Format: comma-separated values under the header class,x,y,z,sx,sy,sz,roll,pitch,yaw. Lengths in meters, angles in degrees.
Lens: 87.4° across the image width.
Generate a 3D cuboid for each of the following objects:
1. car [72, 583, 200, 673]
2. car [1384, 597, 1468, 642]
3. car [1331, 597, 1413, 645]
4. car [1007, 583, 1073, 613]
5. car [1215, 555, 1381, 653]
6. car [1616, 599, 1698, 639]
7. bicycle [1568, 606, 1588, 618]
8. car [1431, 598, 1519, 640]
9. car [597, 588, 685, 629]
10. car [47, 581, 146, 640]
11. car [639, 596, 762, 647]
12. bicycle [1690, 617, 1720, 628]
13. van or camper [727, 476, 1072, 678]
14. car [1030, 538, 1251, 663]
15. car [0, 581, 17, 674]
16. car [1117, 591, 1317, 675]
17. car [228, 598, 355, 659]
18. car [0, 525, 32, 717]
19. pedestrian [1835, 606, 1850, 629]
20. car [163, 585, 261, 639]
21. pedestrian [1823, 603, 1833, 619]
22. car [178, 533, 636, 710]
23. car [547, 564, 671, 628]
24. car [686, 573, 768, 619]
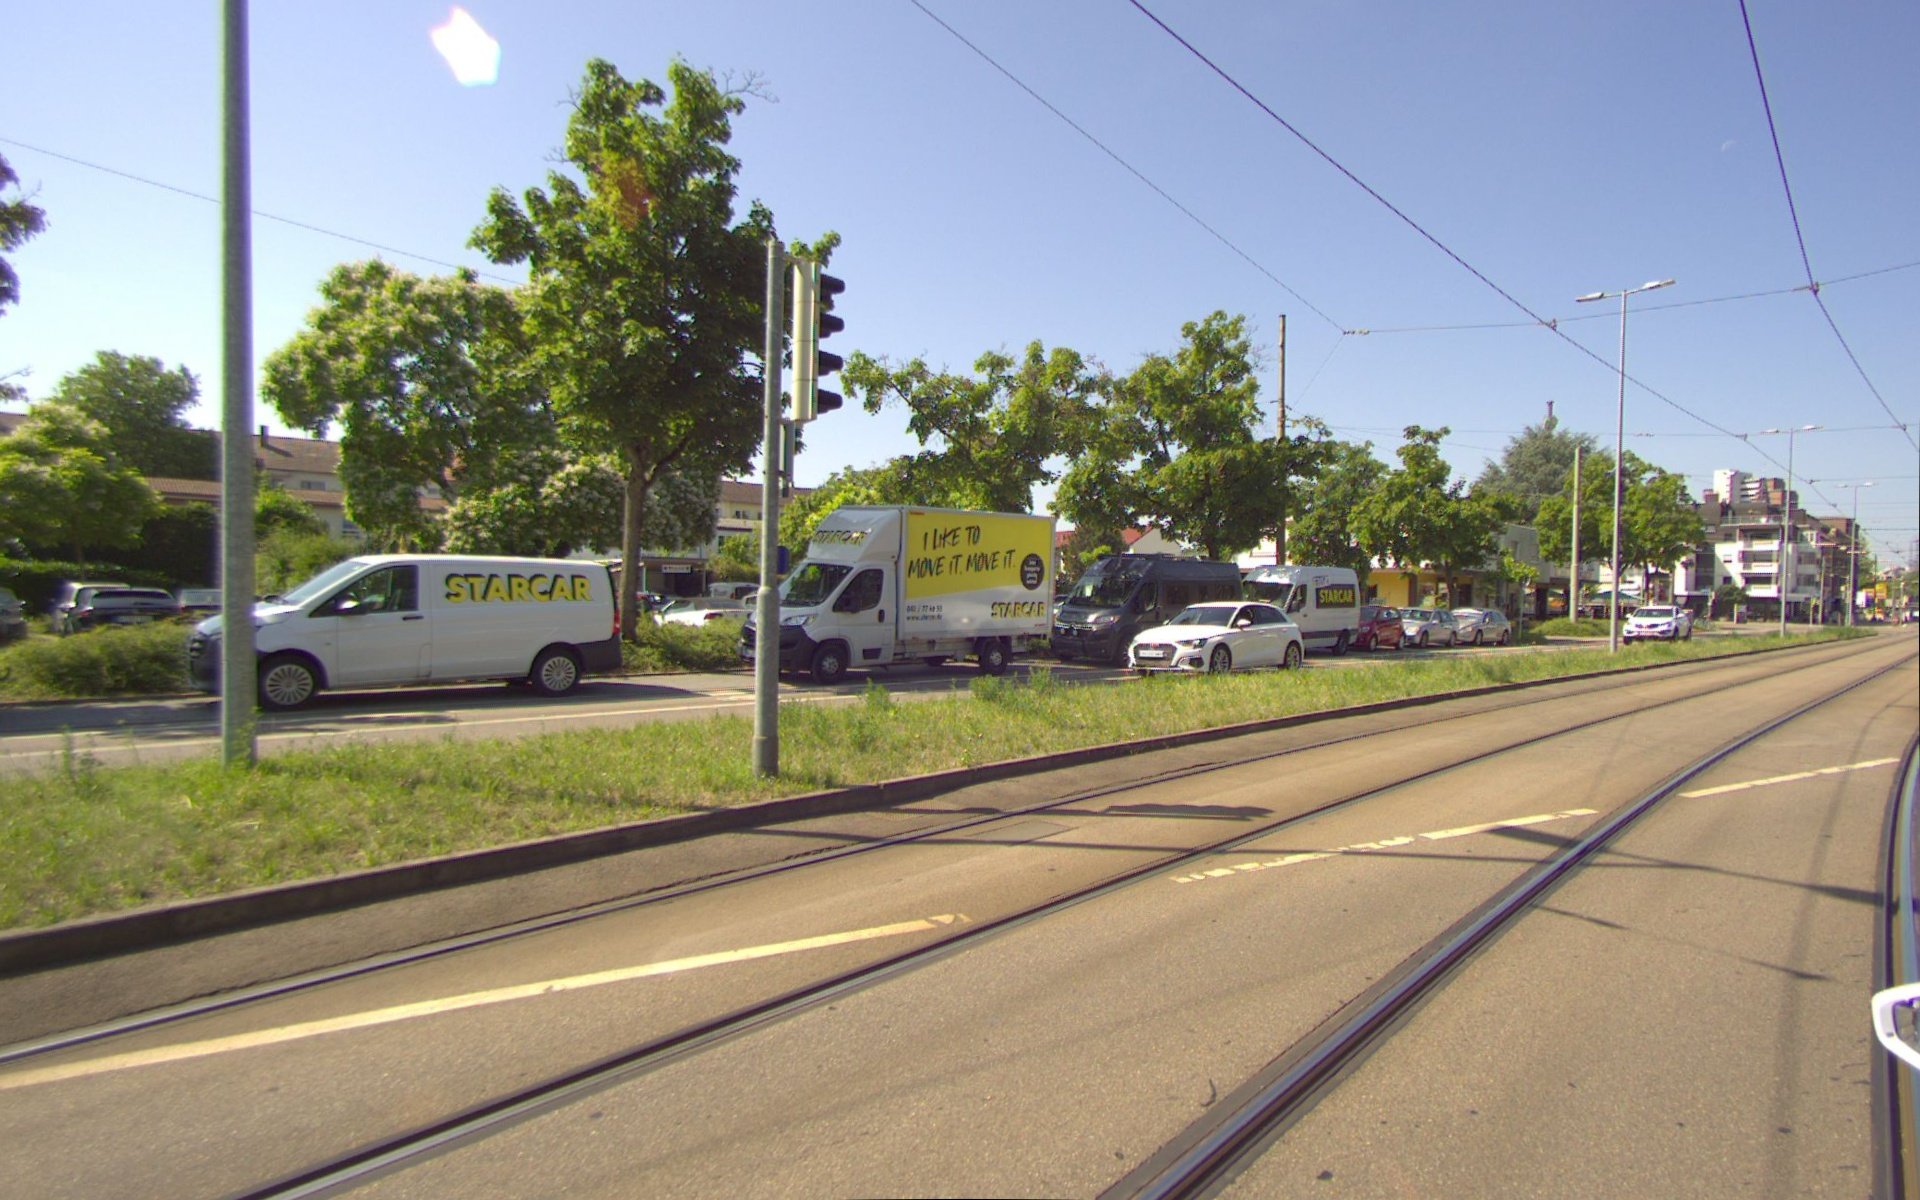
class,x,y,z,sx,sy,sz,roll,pitch,yaw
car,-16.078,0.482,19.534,1.652,1.565,3.948,1,0,-43
car,17.178,0.695,36.965,4.321,1.510,1.279,0,3,-44
car,13.874,0.705,33.767,1.278,1.510,3.654,1,-1,44
car,6.090,-0.179,76.857,4.877,2.203,2.087,1,0,44
car,10.308,0.085,30.324,5.937,2.666,2.174,0,3,-44
car,29.611,0.779,42.615,4.629,1.618,2.023,0,-1,-44
bicycle,48.479,0.962,78.816,2.374,0.900,0.775,1,0,-44
car,20.871,0.741,40.627,4.583,1.510,1.589,0,3,-42
car,-13.132,0.318,41.231,3.944,1.565,1.775,1,1,43
car,-24.882,0.263,28.910,3.944,1.565,1.775,1,1,43
car,-7.344,0.562,28.201,1.652,1.288,3.948,1,0,-43
bicycle,64.495,1.924,86.956,2.134,0.934,0.553,1,0,0
van or camper,-0.922,-0.408,19.387,6.722,3.285,2.175,0,3,-43
car,4.585,-0.022,24.746,6.037,2.704,2.174,0,3,-44
car,-17.943,0.455,17.907,1.652,1.565,3.948,0,0,-43
car,5.083,0.582,19.560,4.306,1.441,1.774,1,0,-44
car,-14.347,0.562,21.475,1.652,1.169,3.851,1,0,-43
car,-12.185,0.154,9.279,2.171,1.967,5.156,3,2,42
pedestrian,71.315,1.407,81.199,0.816,1.762,0.928,1,0,39
car,-22.921,0.326,30.748,3.944,1.565,1.775,1,1,43
pedestrian,113.223,1.460,131.008,0.926,2.040,0.985,1,0,41
car,-7.364,0.203,13.755,5.147,1.967,2.175,0,3,-43
car,-9.412,-0.112,26.757,1.652,1.565,3.948,1,0,-43
car,-10.882,-0.192,46.834,3.944,2.030,1.900,1,1,43
